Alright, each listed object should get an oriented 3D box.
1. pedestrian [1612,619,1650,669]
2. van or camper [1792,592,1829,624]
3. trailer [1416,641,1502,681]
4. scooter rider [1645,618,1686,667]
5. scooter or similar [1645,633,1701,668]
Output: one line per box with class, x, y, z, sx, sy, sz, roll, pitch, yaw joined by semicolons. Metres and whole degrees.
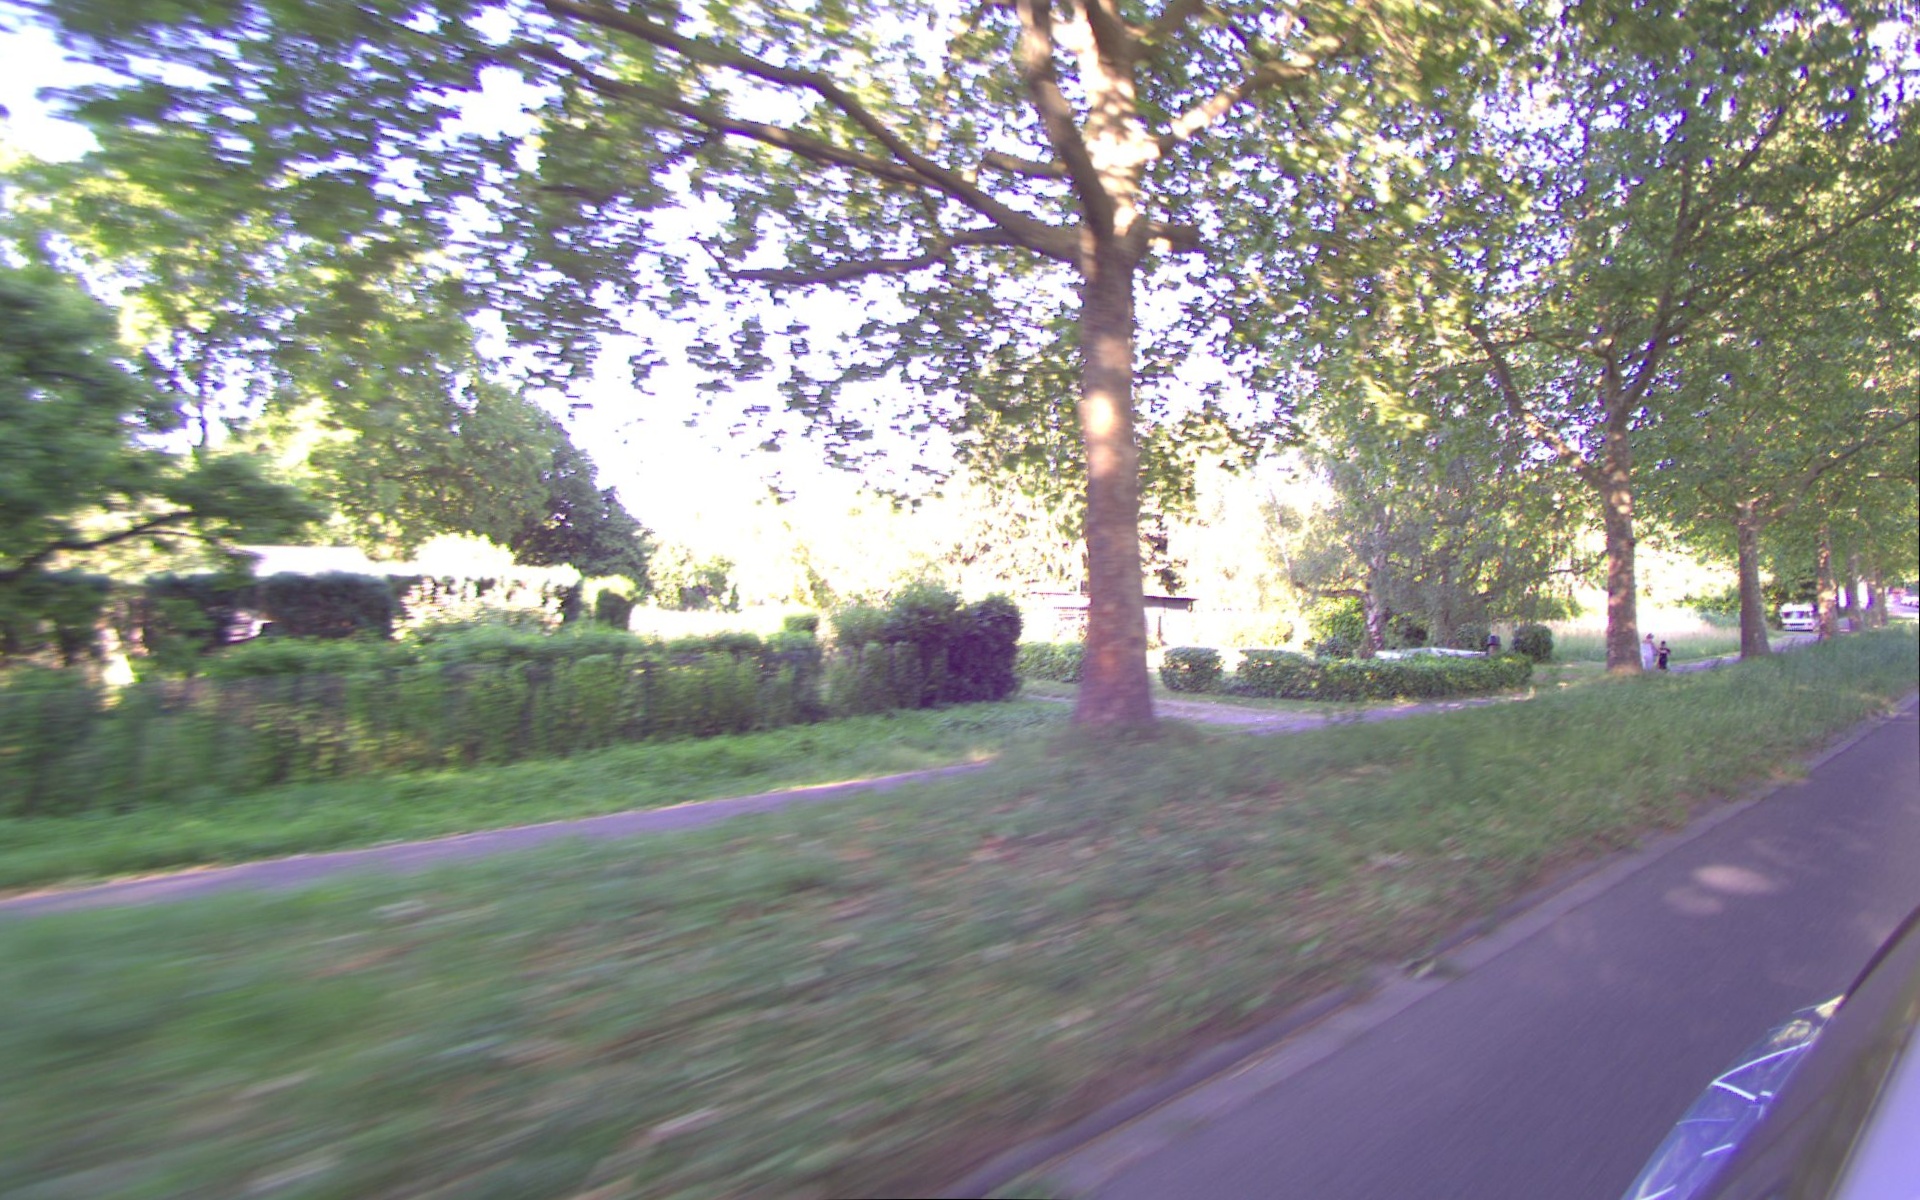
pedestrian;22.204;1.453;33.496;0.833;1.596;0.780;0;0;17
van or camper;79.521;0.686;94.624;2.380;2.835;5.597;0;0;43
trailer;15.549;1.871;31.567;1.179;1.066;2.123;0;0;-38
scooter rider;23.500;1.407;33.716;0.829;1.596;0.785;0;0;0
scooter or similar;23.692;1.677;33.637;1.570;1.149;0.340;0;0;3
